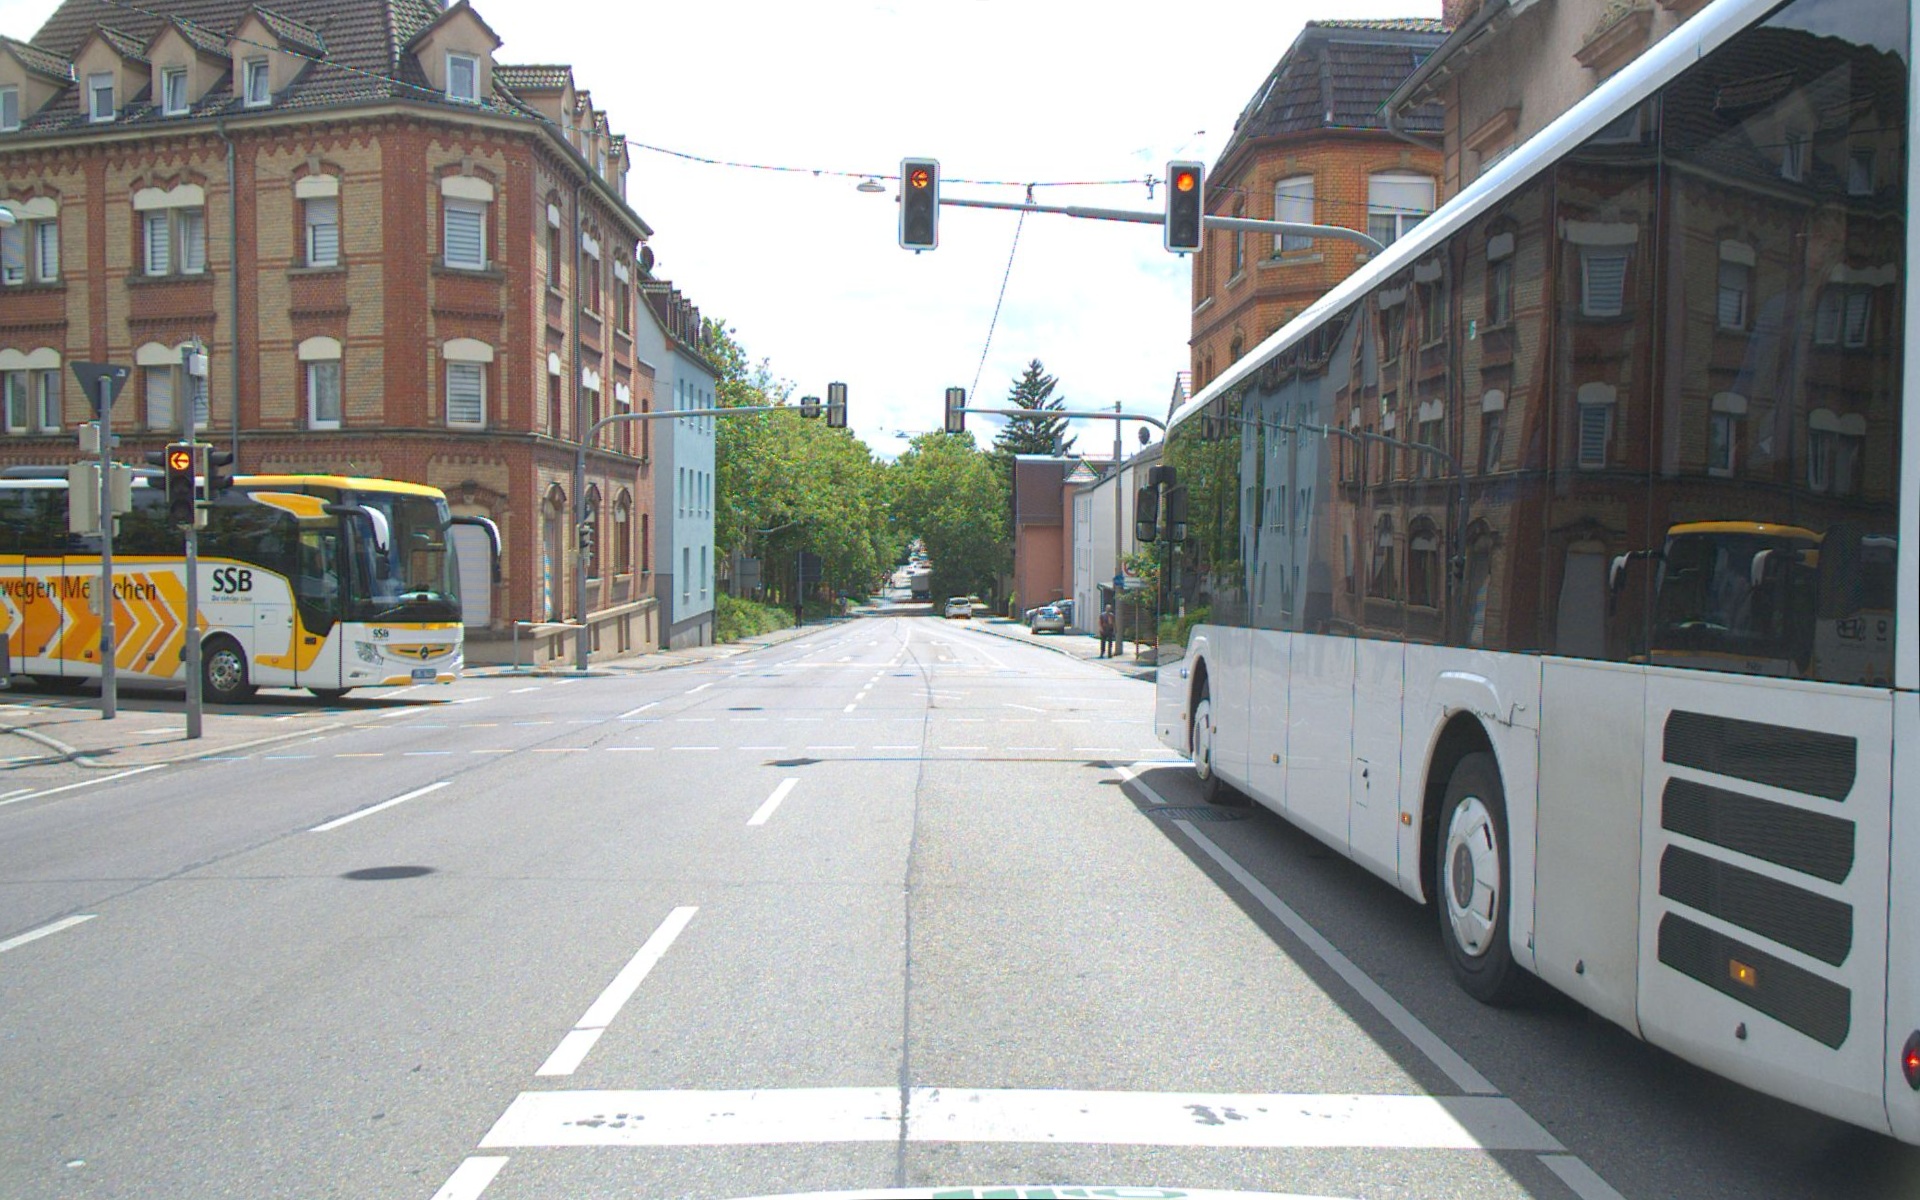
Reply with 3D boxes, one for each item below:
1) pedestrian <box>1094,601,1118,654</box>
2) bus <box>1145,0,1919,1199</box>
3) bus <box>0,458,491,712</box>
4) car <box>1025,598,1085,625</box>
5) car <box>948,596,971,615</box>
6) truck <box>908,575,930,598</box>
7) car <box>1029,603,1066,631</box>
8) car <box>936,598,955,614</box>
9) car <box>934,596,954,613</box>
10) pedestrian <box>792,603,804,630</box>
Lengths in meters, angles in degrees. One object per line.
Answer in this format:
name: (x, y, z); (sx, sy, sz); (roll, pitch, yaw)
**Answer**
pedestrian: (4.913, 0.920, 55.830); (0.723, 1.781, 0.619); (-1, 0, -1)
bus: (3.116, -0.153, 9.374); (2.618, 3.211, 12.459); (0, 0, -1)
bus: (-13.603, -0.258, 27.553); (11.974, 3.685, 2.771); (0, 0, 22)
car: (6.492, 0.786, 113.248); (3.909, 1.788, 1.998); (-1, 0, -6)
car: (-0.056, 0.465, 129.400); (1.757, 1.434, 4.000); (1, 0, 0)
truck: (-5.888, -1.949, 237.570); (2.868, 3.135, 7.881); (-1, 0, -3)
car: (4.916, 0.951, 93.123); (1.758, 1.434, 3.999); (-1, 1, -2)
car: (-1.327, 0.525, 154.115); (1.757, 1.434, 4.418); (1, 0, 0)
car: (-1.398, 0.413, 145.790); (1.757, 1.434, 4.418); (1, 0, 0)
pedestrian: (-9.686, 0.978, 99.008); (0.714, 1.592, 0.560); (0, 0, -2)
